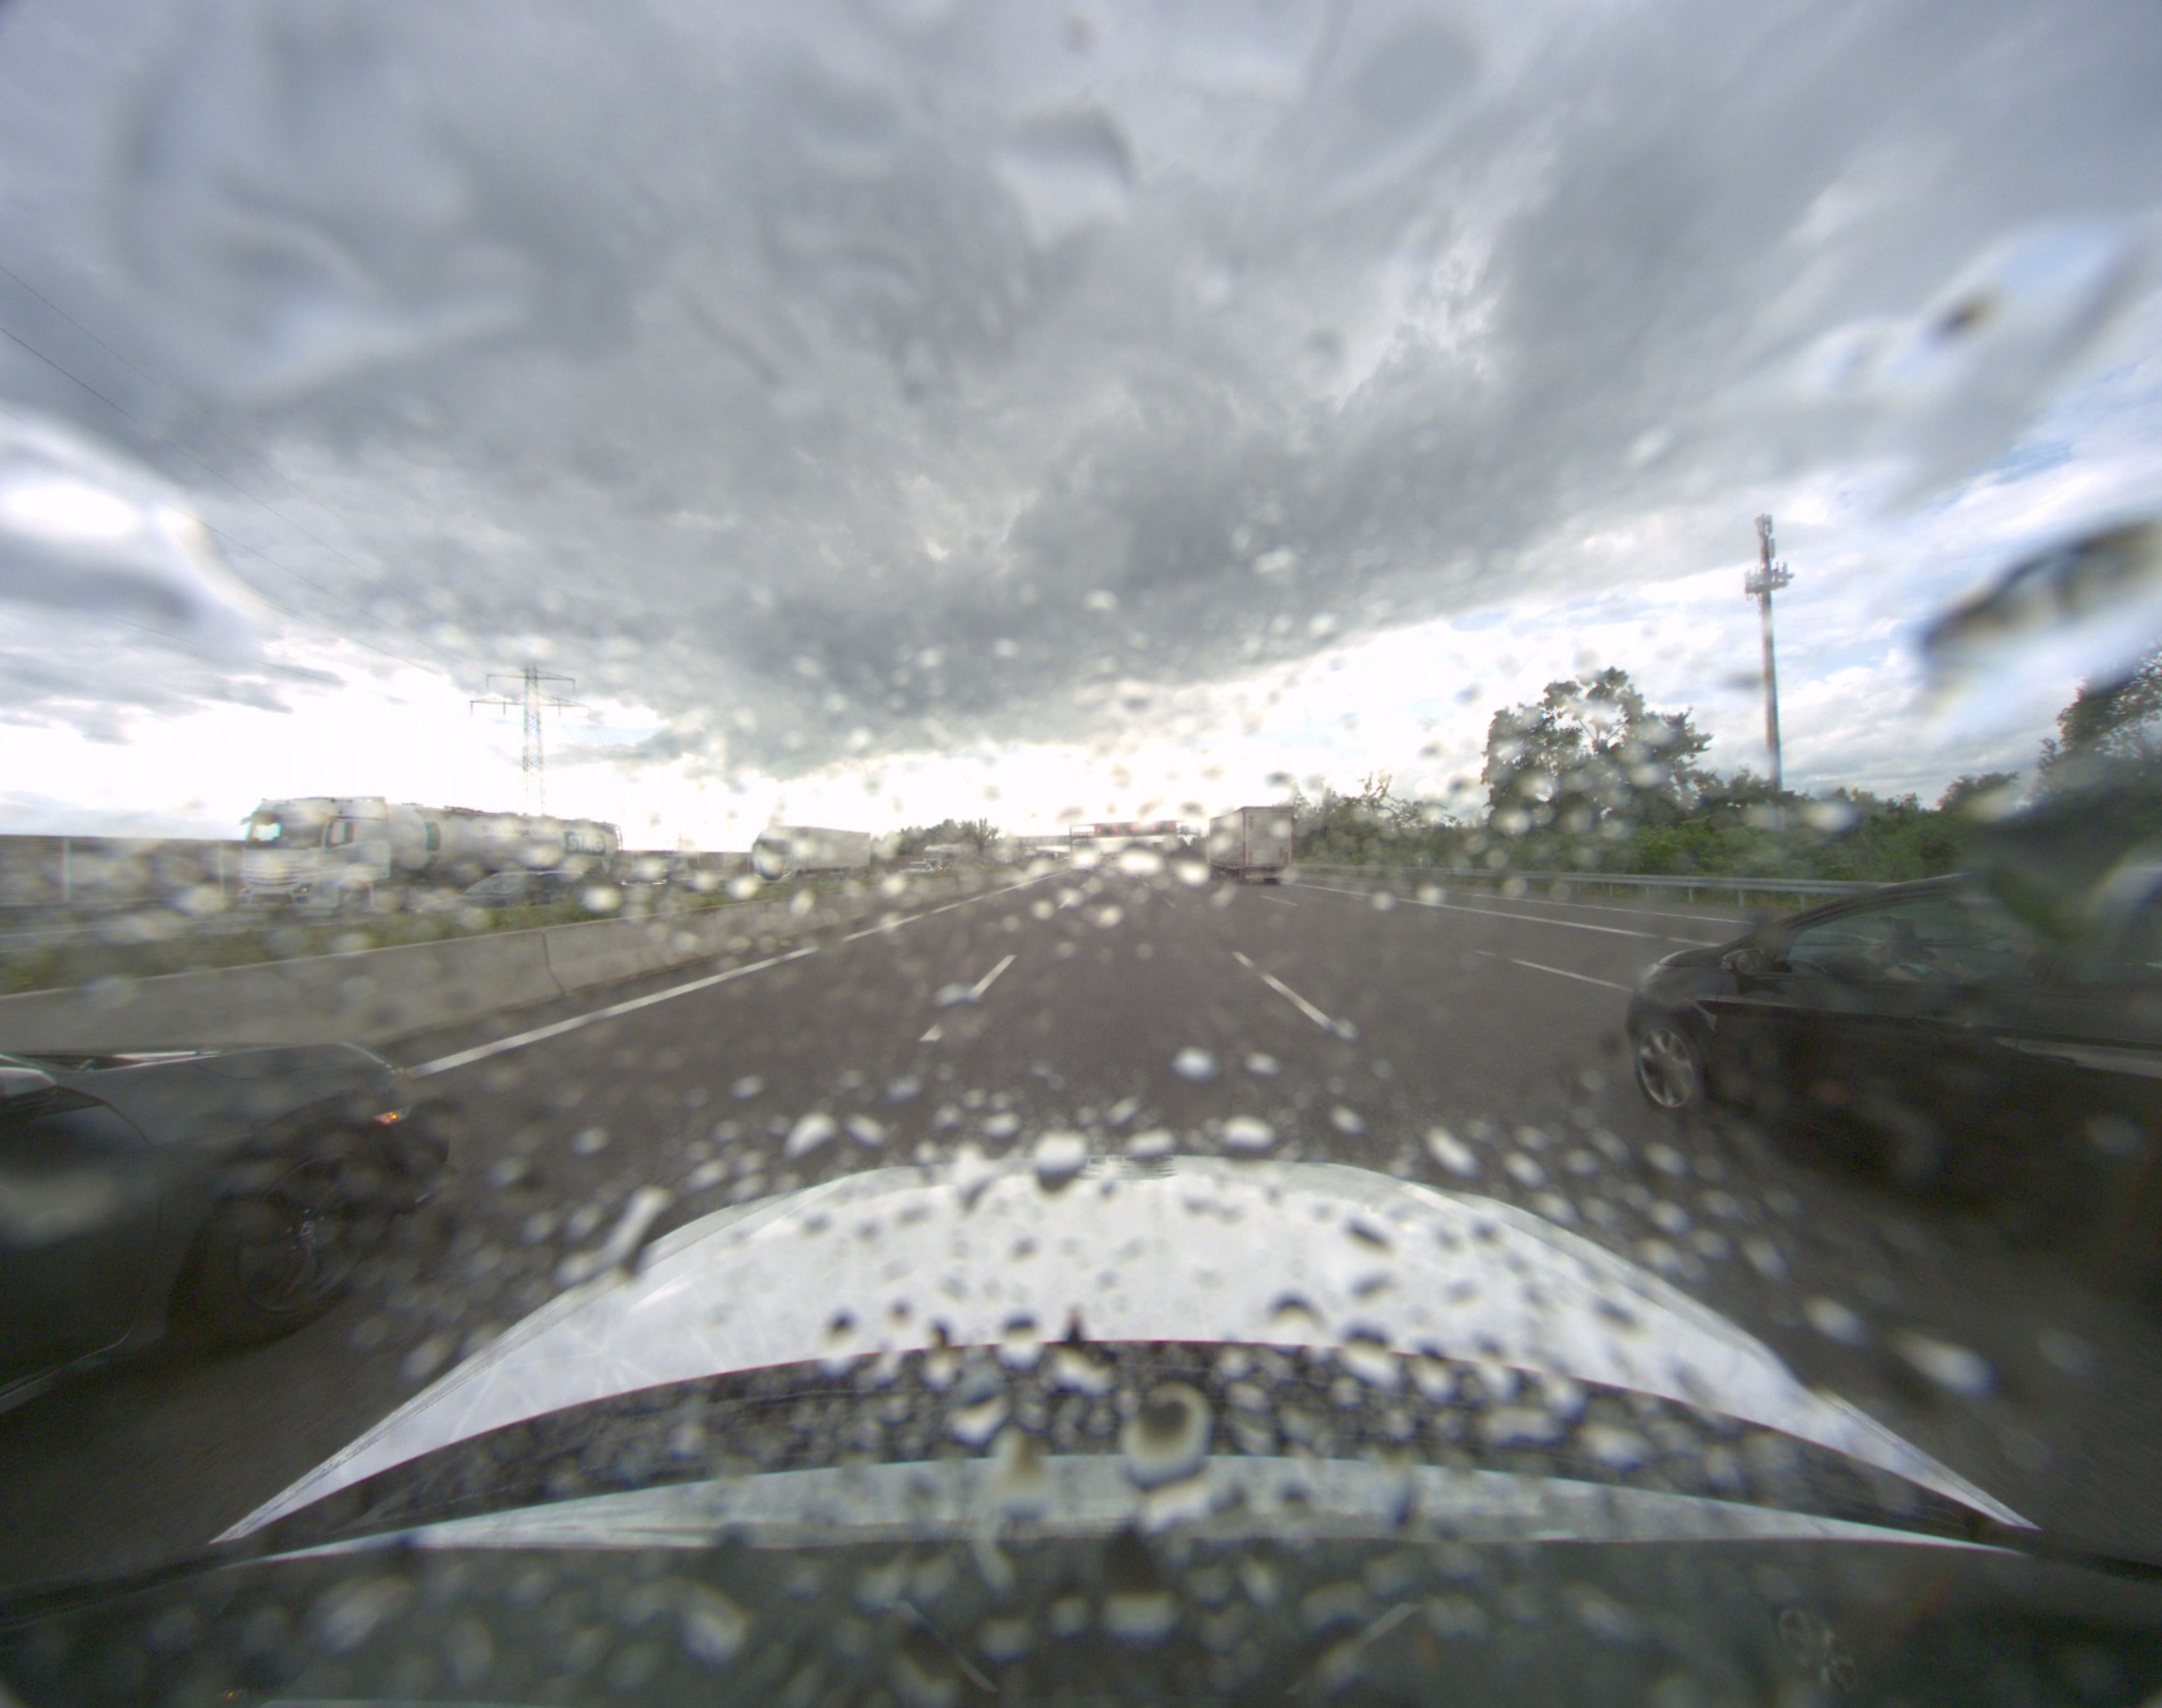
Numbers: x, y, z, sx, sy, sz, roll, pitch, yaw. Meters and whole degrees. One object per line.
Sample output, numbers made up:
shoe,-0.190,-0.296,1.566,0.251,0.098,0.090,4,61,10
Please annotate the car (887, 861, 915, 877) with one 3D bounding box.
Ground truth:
car,-18.613,1.528,84.295,1.781,1.591,4.387,0,0,2

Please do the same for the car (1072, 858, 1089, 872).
car,-0.056,1.189,87.045,1.766,1.441,3.875,-1,0,1

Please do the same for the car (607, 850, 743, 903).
car,-16.504,0.873,33.614,2.270,1.968,6.092,0,0,4

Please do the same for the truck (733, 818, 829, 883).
truck,-19.653,-0.220,53.895,3.646,4.048,6.528,0,0,3

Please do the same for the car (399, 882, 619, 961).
car,-12.866,1.449,18.757,1.781,1.454,4.565,0,0,1

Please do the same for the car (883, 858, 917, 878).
car,-15.266,1.163,68.854,1.781,1.562,4.565,0,0,1

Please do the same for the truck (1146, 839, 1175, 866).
truck,13.648,-0.223,140.191,4.164,4.288,12.618,0,0,2

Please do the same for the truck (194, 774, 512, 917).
truck,-25.003,-0.231,28.874,3.647,4.319,8.240,0,0,2

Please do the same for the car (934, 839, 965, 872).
car,-17.269,0.203,107.343,2.971,4.150,6.044,0,0,2

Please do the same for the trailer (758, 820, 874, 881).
trailer,-19.326,-0.190,60.783,3.645,4.108,13.408,0,0,3

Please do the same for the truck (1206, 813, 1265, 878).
truck,10.159,-0.521,54.262,2.949,4.020,6.594,-1,0,3

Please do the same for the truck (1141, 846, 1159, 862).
truck,18.619,0.122,220.165,4.227,4.176,11.997,0,0,3

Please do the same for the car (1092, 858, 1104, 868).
car,2.487,1.283,118.638,1.766,1.441,4.056,-1,0,1

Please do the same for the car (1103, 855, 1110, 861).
car,7.106,1.118,228.717,1.765,1.441,4.058,-1,0,2

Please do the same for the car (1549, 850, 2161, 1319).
car,3.966,0.716,4.102,1.442,1.441,3.164,-1,0,1

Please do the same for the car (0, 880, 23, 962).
car,-20.416,1.193,12.709,1.781,1.469,4.565,0,0,1

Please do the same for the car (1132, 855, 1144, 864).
car,9.235,0.895,132.881,1.828,1.441,4.058,-1,0,2

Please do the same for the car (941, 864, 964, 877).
car,-14.596,1.841,92.759,1.781,1.455,4.566,0,0,2

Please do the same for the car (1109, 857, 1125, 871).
car,4.030,1.107,91.612,1.766,1.441,4.056,-1,0,1

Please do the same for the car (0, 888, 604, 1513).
car,-3.414,0.865,1.712,1.754,1.369,5.061,-1,0,1

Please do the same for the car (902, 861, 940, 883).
car,-11.426,1.255,58.410,1.781,1.454,4.565,0,0,1

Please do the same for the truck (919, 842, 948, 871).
truck,-21.519,0.430,119.295,2.889,4.116,6.625,0,0,2

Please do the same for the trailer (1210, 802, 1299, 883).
trailer,9.853,-0.559,48.050,2.949,4.020,14.129,-1,0,3

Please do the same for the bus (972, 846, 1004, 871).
bus,-13.804,0.642,122.137,2.879,3.611,12.763,0,0,2

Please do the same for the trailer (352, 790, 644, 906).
trailer,-24.801,-0.180,36.214,3.646,4.237,12.472,0,0,2
